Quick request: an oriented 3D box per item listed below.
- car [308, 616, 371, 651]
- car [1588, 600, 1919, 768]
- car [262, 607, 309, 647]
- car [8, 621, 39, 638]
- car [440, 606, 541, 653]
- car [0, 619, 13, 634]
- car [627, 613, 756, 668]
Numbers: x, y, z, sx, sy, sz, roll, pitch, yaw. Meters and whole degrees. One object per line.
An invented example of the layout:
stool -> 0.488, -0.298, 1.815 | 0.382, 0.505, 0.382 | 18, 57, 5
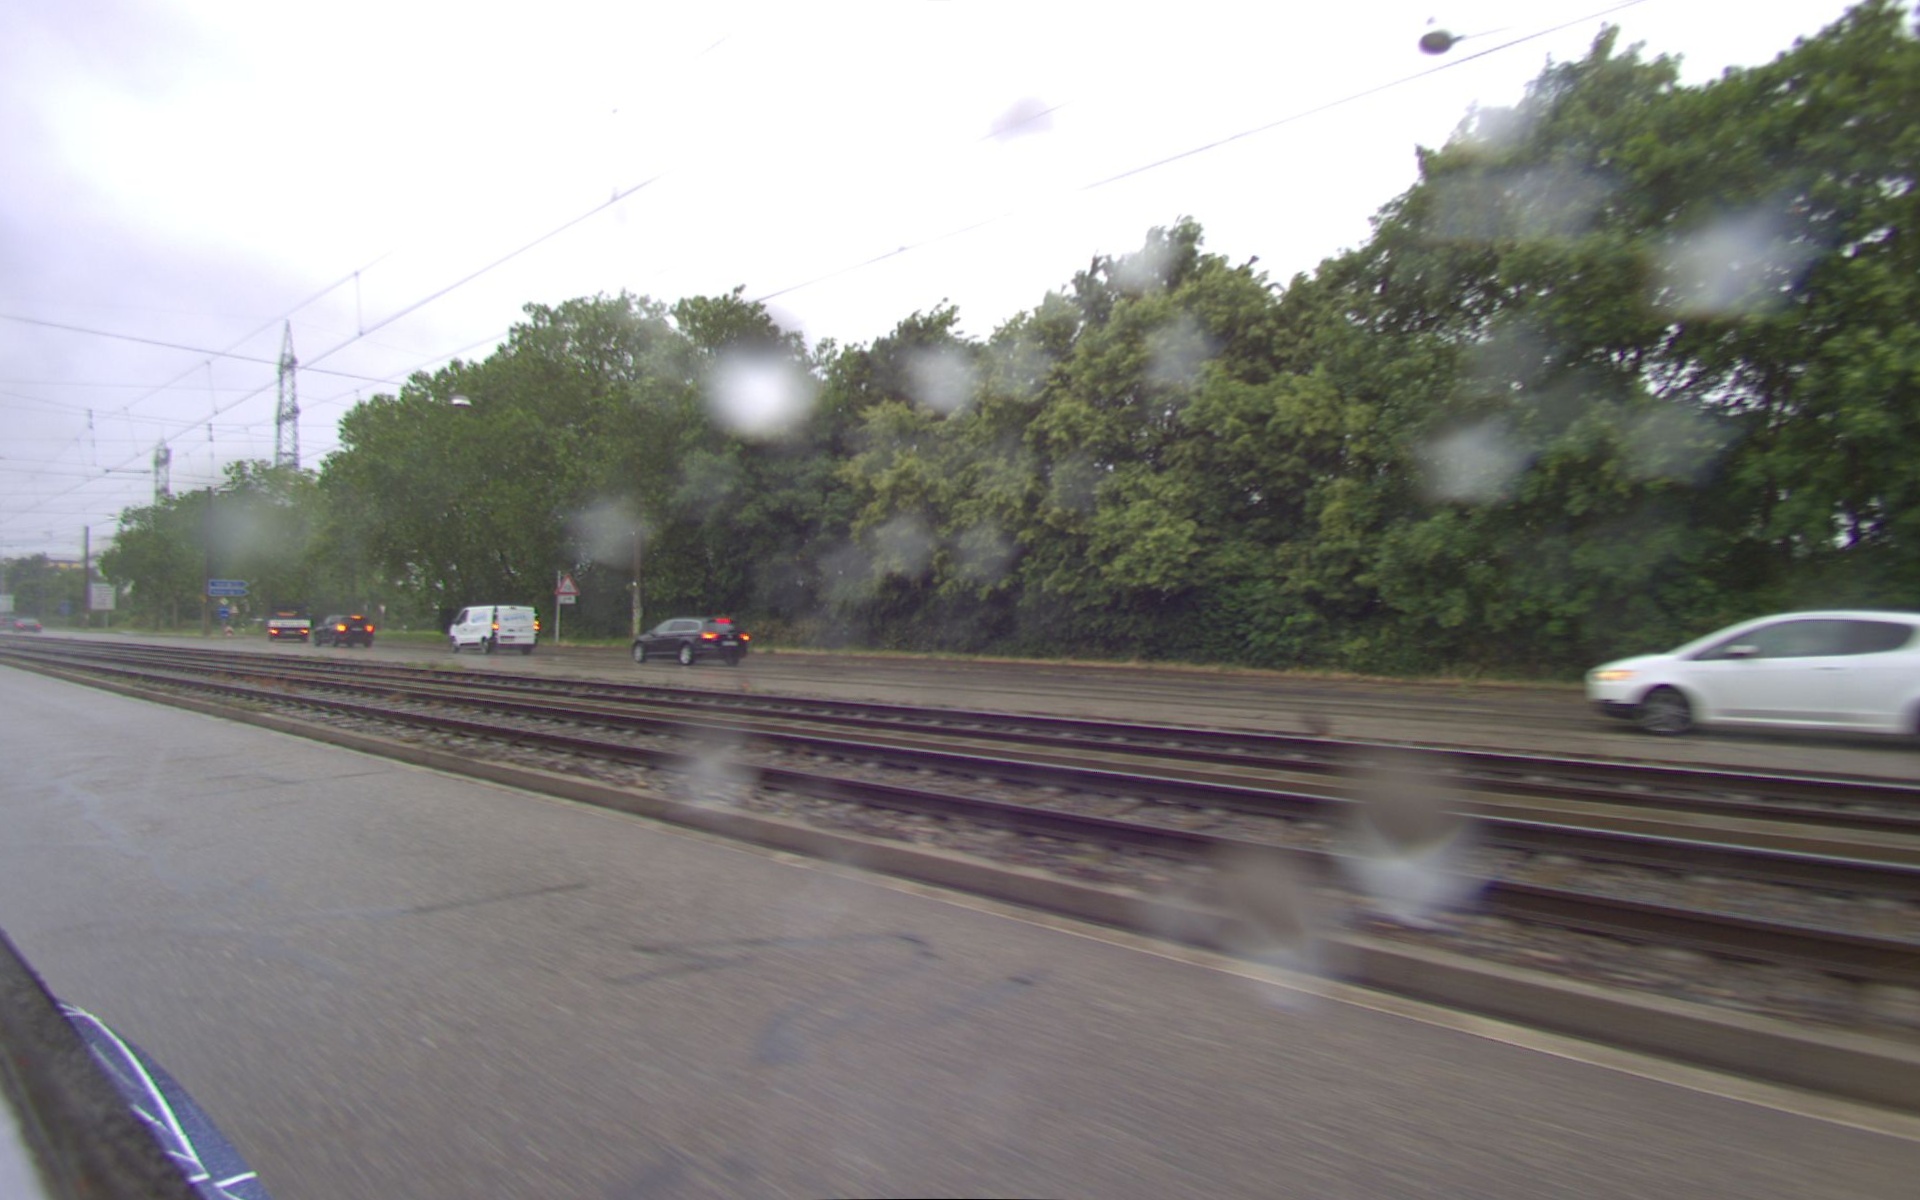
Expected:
car -> -32.588, 1.791, 53.115 | 4.163, 1.730, 1.821 | -3, -2, 44
car -> 9.772, 0.903, 11.718 | 3.997, 1.724, 1.736 | -3, -2, 40
car -> -42.870, 1.757, 64.254 | 2.072, 2.361, 7.005 | -1, -1, -37
car -> -96.574, 3.044, 104.355 | 5.678, 1.597, 1.757 | -3, -2, 41
car -> -19.449, 1.236, 41.844 | 4.985, 1.789, 2.018 | -3, -2, 43
car -> -112.854, 3.161, 118.846 | 6.101, 1.719, 1.800 | -3, -2, 41
car -> -8.319, 1.241, 31.141 | 4.612, 1.530, 1.670 | -3, -2, 44
